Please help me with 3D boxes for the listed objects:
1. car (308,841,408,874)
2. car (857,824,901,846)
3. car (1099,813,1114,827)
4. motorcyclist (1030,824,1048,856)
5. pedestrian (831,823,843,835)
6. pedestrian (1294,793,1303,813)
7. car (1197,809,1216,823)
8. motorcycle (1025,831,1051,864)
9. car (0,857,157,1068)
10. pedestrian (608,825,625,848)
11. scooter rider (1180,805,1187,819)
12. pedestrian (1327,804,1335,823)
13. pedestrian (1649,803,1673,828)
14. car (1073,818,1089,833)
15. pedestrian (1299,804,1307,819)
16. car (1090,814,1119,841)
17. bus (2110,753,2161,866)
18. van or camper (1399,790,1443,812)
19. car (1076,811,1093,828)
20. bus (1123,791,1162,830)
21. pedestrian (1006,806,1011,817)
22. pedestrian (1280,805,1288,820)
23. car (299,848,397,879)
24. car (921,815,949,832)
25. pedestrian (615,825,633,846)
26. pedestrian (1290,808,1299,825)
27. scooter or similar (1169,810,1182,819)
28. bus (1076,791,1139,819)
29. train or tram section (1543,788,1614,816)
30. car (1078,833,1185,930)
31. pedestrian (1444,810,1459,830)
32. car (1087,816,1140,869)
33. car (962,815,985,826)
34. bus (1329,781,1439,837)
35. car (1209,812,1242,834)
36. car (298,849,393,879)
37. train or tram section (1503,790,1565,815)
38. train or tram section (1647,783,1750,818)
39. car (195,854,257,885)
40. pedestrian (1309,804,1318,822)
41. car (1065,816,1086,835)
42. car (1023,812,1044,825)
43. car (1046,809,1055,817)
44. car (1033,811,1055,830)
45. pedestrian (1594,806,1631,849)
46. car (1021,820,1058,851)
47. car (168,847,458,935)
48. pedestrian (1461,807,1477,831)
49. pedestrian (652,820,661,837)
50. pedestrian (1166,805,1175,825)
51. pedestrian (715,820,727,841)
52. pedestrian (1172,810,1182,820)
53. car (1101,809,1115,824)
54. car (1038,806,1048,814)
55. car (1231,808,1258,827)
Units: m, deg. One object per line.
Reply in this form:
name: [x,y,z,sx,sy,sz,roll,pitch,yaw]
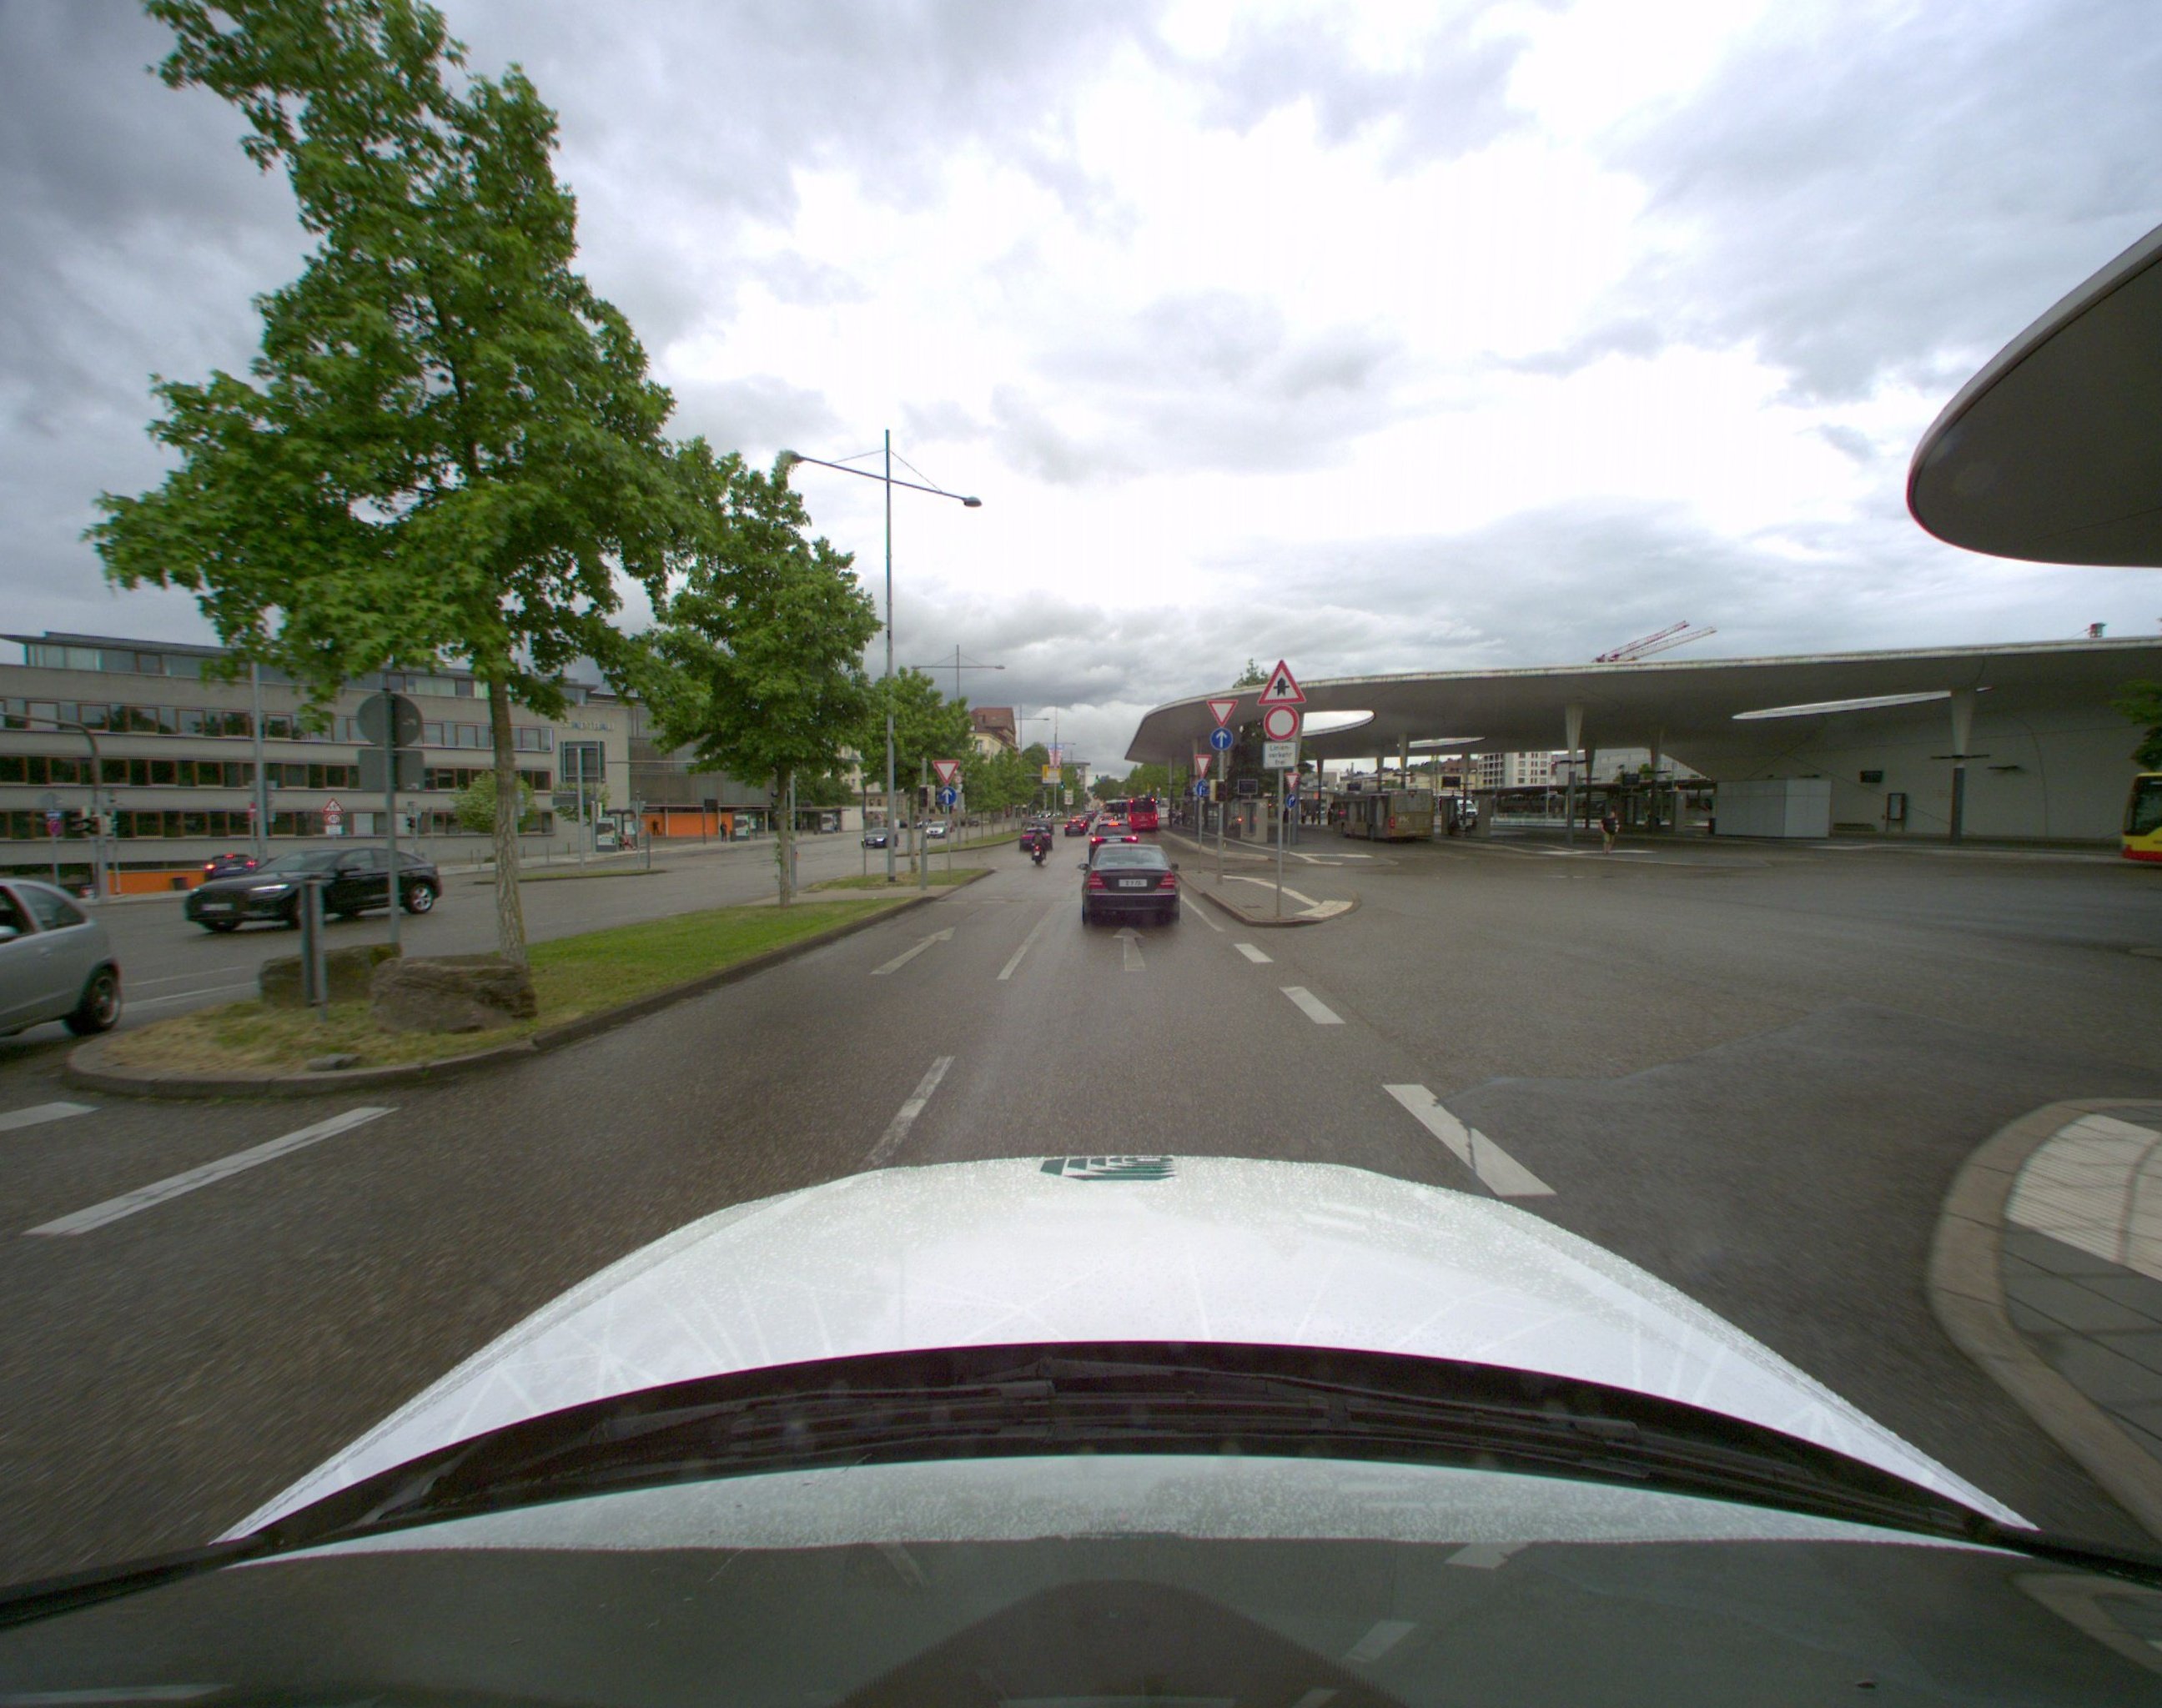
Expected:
car: [-38.478,0.164,43.453,1.615,1.495,3.599,-1,3,17]
car: [-15.184,-1.486,61.479,1.840,1.503,4.924,-1,3,3]
car: [3.393,-4.579,108.712,1.859,1.684,4.001,2,1,1]
motorcyclist: [-1.776,-0.611,34.812,0.638,1.347,0.690,-2,3,5]
pedestrian: [-27.832,-2.809,92.726,0.967,1.267,0.854,4,5,22]
pedestrian: [22.346,-5.275,83.616,0.717,2.014,0.674,2,-1,28]
car: [15.588,-4.748,101.343,1.706,1.661,4.241,0,3,1]
motorcycle: [-1.811,-0.306,34.502,0.789,1.261,1.858,-2,3,5]
car: [-8.659,0.813,5.816,1.643,1.448,3.837,-3,2,-32]
pedestrian: [-30.252,-1.114,53.020,0.676,1.468,0.626,-1,2,-1]
scooter rider: [10.948,-4.457,87.106,0.587,1.489,0.768,-1,2,15]
pedestrian: [24.950,-4.060,81.358,0.583,1.874,0.721,2,4,30]
pedestrian: [36.142,-2.396,50.739,0.793,1.585,0.907,1,2,-5]
car: [0.017,-3.486,98.966,1.859,1.684,4.001,2,1,1]
pedestrian: [23.838,-4.532,87.360,0.574,1.578,0.565,2,-1,36]
car: [1.554,-1.808,53.870,1.734,1.566,3.874,-3,3,2]
bus: [32.527,-1.087,18.544,2.779,3.256,12.142,-1,3,0]
van or camper: [42.865,-6.711,102.767,4.592,2.557,2.119,2,1,0]
car: [0.352,-3.506,82.358,1.570,1.566,3.874,-3,3,2]
bus: [5.744,-4.172,77.494,3.273,3.290,10.888,-2,3,2]
pedestrian: [-14.343,-8.411,160.623,0.727,2.013,0.820,-3,3,-25]
pedestrian: [21.749,-4.478,87.233,0.574,1.578,0.565,2,-1,31]
car: [-40.164,0.494,44.710,1.615,1.495,3.599,-1,3,17]
car: [-14.615,-3.049,81.567,1.840,1.652,4.422,-1,3,1]
pedestrian: [-30.196,-1.213,53.827,0.676,1.392,0.721,-1,2,-1]
pedestrian: [19.410,-3.398,74.114,0.597,1.581,0.710,-1,1,-8]
scooter or similar: [10.125,-4.230,87.305,1.233,1.012,0.767,-1,2,15]
bus: [4.012,-7.570,127.162,2.861,3.986,11.731,-3,3,-37]
train or tram section: [71.663,-7.475,117.694,3.120,3.658,11.622,3,3,1]
car: [0.871,0.394,15.351,1.691,1.461,4.305,-2,2,1]
pedestrian: [23.174,-2.114,50.982,0.786,1.226,0.637,-1,3,18]
car: [1.323,-0.565,33.867,1.950,1.875,4.877,-3,3,2]
car: [-16.535,-5.134,125.413,1.742,1.560,3.725,-1,2,-40]
bus: [18.774,-2.854,51.495,2.711,3.042,12.097,-2,3,2]
car: [9.864,-2.145,55.746,1.642,1.452,3.238,-1,4,0]
car: [-42.714,0.545,47.372,1.743,1.495,3.813,1,4,40]
train or tram section: [71.883,-8.201,129.655,3.120,3.658,12.330,3,3,1]
train or tram section: [71.249,-6.163,94.512,3.120,3.677,11.622,3,3,1]
car: [-40.884,0.703,38.926,3.536,1.350,1.493,1,3,36]
pedestrian: [21.245,-3.760,74.426,0.559,1.691,0.613,-1,3,-5]
car: [-0.442,-2.544,72.712,1.569,1.504,3.875,-3,3,2]
car: [-6.484,-4.826,111.225,1.870,1.684,3.976,2,1,-18]
car: [-6.712,-9.140,180.456,1.570,1.566,3.432,-3,3,2]
car: [-3.444,-3.129,75.999,1.670,1.623,3.874,-3,3,2]
pedestrian: [21.322,-1.063,32.666,0.721,1.683,1.013,-4,3,-24]
car: [-2.442,-1.156,49.485,1.809,1.570,4.407,-3,3,2]
car: [-16.552,0.708,18.021,1.903,1.662,4.854,-1,0,-2]
pedestrian: [23.273,-2.096,48.838,0.786,1.377,0.637,-1,3,18]
pedestrian: [-42.594,-2.575,81.709,0.469,1.683,0.647,0,3,32]
pedestrian: [9.144,-3.958,83.021,0.772,2.012,0.785,2,4,14]
pedestrian: [-29.314,-1.913,66.303,0.471,1.683,0.765,-2,3,8]
pedestrian: [10.267,-4.177,87.182,0.906,0.985,0.636,0,-1,15]
car: [3.082,-4.283,93.648,1.570,1.566,3.874,-3,3,2]
car: [-8.166,-9.369,174.360,1.773,1.566,3.432,-3,3,2]
car: [15.242,-3.449,76.207,1.706,1.661,4.241,0,3,1]
